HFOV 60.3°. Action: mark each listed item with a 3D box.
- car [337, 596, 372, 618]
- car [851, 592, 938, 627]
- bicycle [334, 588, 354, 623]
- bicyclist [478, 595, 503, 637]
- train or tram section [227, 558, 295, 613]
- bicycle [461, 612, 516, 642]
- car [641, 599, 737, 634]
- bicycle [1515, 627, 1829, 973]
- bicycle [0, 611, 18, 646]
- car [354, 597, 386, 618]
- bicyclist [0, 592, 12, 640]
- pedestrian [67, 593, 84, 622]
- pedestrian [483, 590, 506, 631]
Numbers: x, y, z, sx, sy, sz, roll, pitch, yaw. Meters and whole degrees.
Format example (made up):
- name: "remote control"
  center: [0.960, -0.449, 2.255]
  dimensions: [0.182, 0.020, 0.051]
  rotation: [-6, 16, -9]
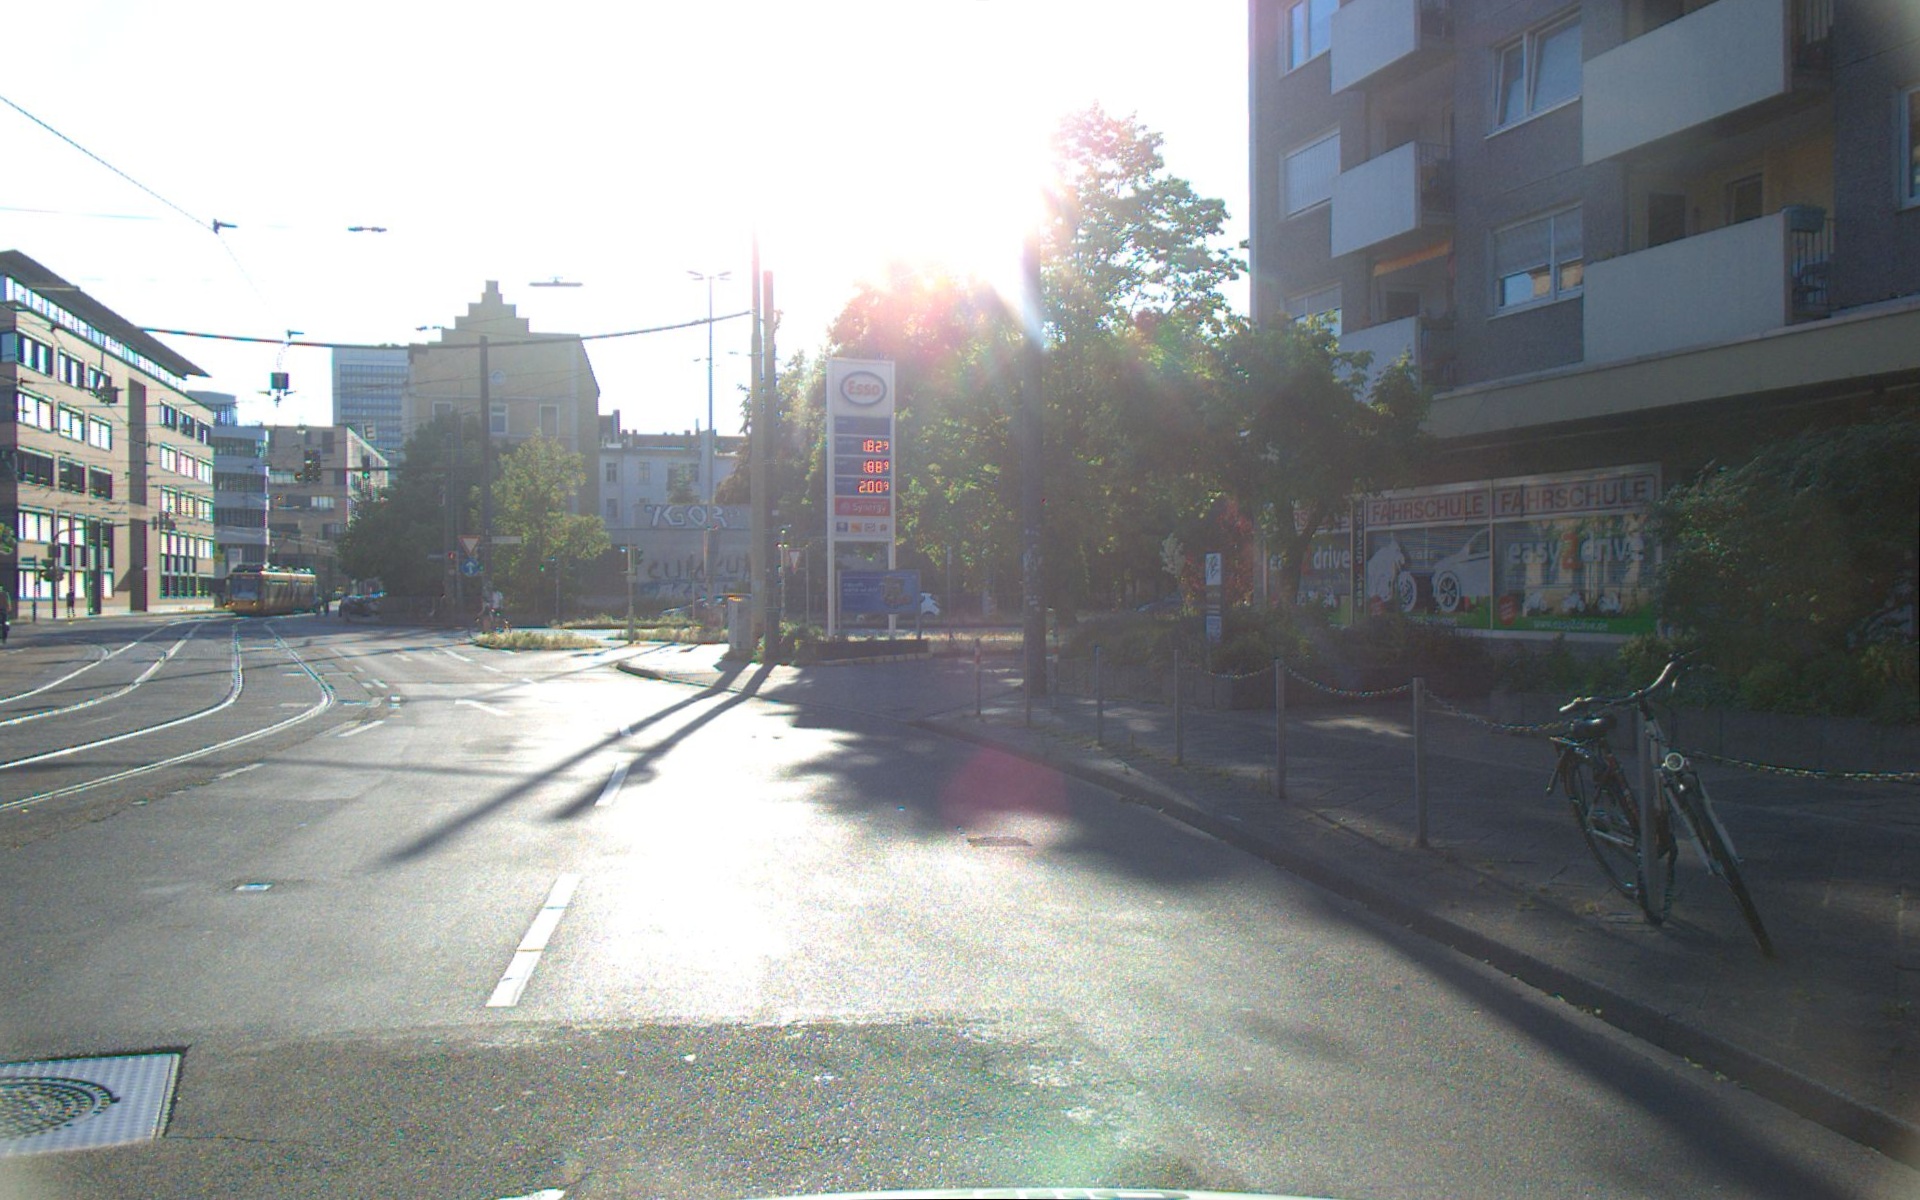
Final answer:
- name: "car"
  center: [-42.561, 0.467, 116.269]
  dimensions: [1.961, 1.489, 3.983]
  rotation: [-1, 0, -15]
- name: "car"
  center: [-2.987, 0.441, 76.039]
  dimensions: [3.906, 1.534, 1.672]
  rotation: [-1, 0, -2]
- name: "bicycle"
  center: [-32.440, 0.283, 87.112]
  dimensions: [0.562, 1.838, 1.338]
  rotation: [-1, 0, -40]
- name: "bicyclist"
  center: [-16.539, 0.563, 58.282]
  dimensions: [0.791, 1.438, 0.621]
  rotation: [-1, -1, -19]
- name: "train or tram section"
  center: [-50.116, -0.976, 118.877]
  dimensions: [2.203, 3.637, 14.224]
  rotation: [-1, 0, -14]
- name: "bicycle"
  center: [-16.608, 0.935, 58.225]
  dimensions: [1.805, 1.002, 0.730]
  rotation: [-1, 0, -19]
- name: "car"
  center: [-11.761, 0.708, 71.962]
  dimensions: [3.906, 1.478, 1.809]
  rotation: [-1, 0, -1]
- name: "bicycle"
  center: [3.015, 0.768, 7.239]
  dimensions: [0.625, 1.247, 2.089]
  rotation: [-1, 0, 5]
- name: "bicycle"
  center: [-31.372, 0.931, 53.929]
  dimensions: [0.934, 1.117, 1.983]
  rotation: [-1, 0, -24]
- name: "car"
  center: [-45.070, 0.572, 126.406]
  dimensions: [1.961, 1.512, 3.983]
  rotation: [-1, 0, -15]
- name: "bicyclist"
  center: [-31.450, 0.524, 53.963]
  dimensions: [0.832, 1.540, 0.795]
  rotation: [-1, 0, -25]
- name: "pedestrian"
  center: [-57.422, 0.498, 107.334]
  dimensions: [0.792, 1.874, 0.733]
  rotation: [-1, 0, -14]
- name: "pedestrian"
  center: [-19.649, 0.453, 69.841]
  dimensions: [0.911, 1.721, 0.774]
  rotation: [-1, 0, -16]
